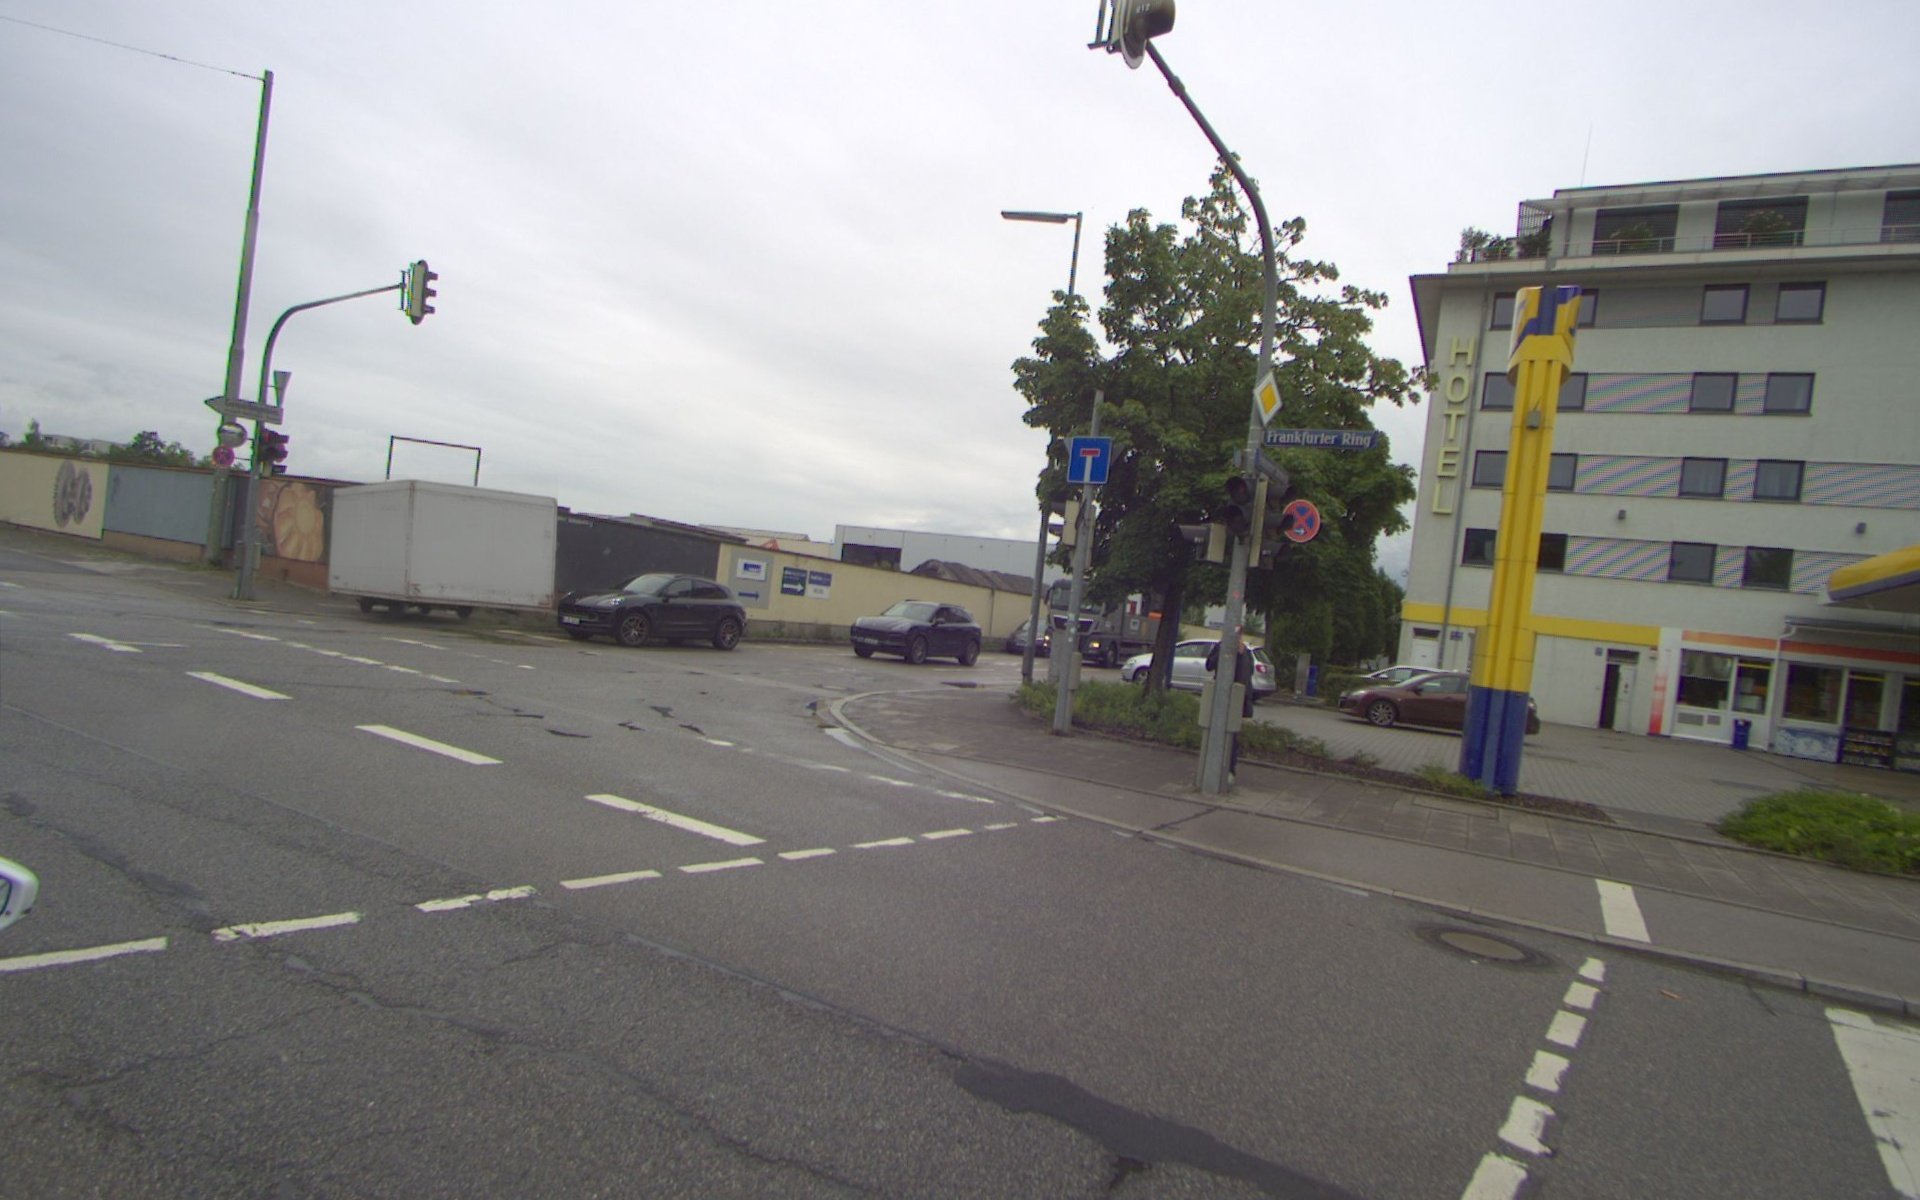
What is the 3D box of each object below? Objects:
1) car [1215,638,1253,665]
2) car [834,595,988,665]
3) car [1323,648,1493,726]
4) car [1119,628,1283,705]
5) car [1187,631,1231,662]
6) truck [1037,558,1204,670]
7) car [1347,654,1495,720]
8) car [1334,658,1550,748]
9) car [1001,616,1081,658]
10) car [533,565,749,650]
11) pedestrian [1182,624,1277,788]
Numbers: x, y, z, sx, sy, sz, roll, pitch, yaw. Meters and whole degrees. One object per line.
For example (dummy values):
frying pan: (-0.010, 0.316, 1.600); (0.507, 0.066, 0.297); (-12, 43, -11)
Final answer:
car: (21.336, 4.043, 78.257); (1.841, 1.726, 4.100); (7, -2, 29)
car: (-1.247, 0.883, 28.035); (1.966, 1.551, 4.624); (7, 0, 30)
car: (12.065, 2.317, 27.142); (3.910, 1.503, 1.627); (7, -1, 30)
car: (6.502, 1.782, 27.165); (3.908, 1.503, 1.628); (7, -1, 26)
car: (17.346, 3.257, 70.045); (1.841, 1.726, 4.100); (7, -2, 29)
truck: (7.255, 0.848, 43.156); (2.566, 3.903, 11.913); (7, 0, 30)
car: (14.901, 2.803, 32.575); (4.120, 1.495, 1.908); (7, -1, 28)
car: (11.267, 2.386, 23.827); (4.281, 1.400, 1.705); (7, -1, 18)
car: (3.554, 1.629, 43.693); (1.734, 1.494, 3.992); (7, 0, 31)
car: (-6.958, 0.230, 22.376); (1.966, 1.445, 4.256); (7, 0, 31)
pedestrian: (2.928, 1.114, 10.894); (0.675, 1.636, 0.803); (7, 3, 27)
